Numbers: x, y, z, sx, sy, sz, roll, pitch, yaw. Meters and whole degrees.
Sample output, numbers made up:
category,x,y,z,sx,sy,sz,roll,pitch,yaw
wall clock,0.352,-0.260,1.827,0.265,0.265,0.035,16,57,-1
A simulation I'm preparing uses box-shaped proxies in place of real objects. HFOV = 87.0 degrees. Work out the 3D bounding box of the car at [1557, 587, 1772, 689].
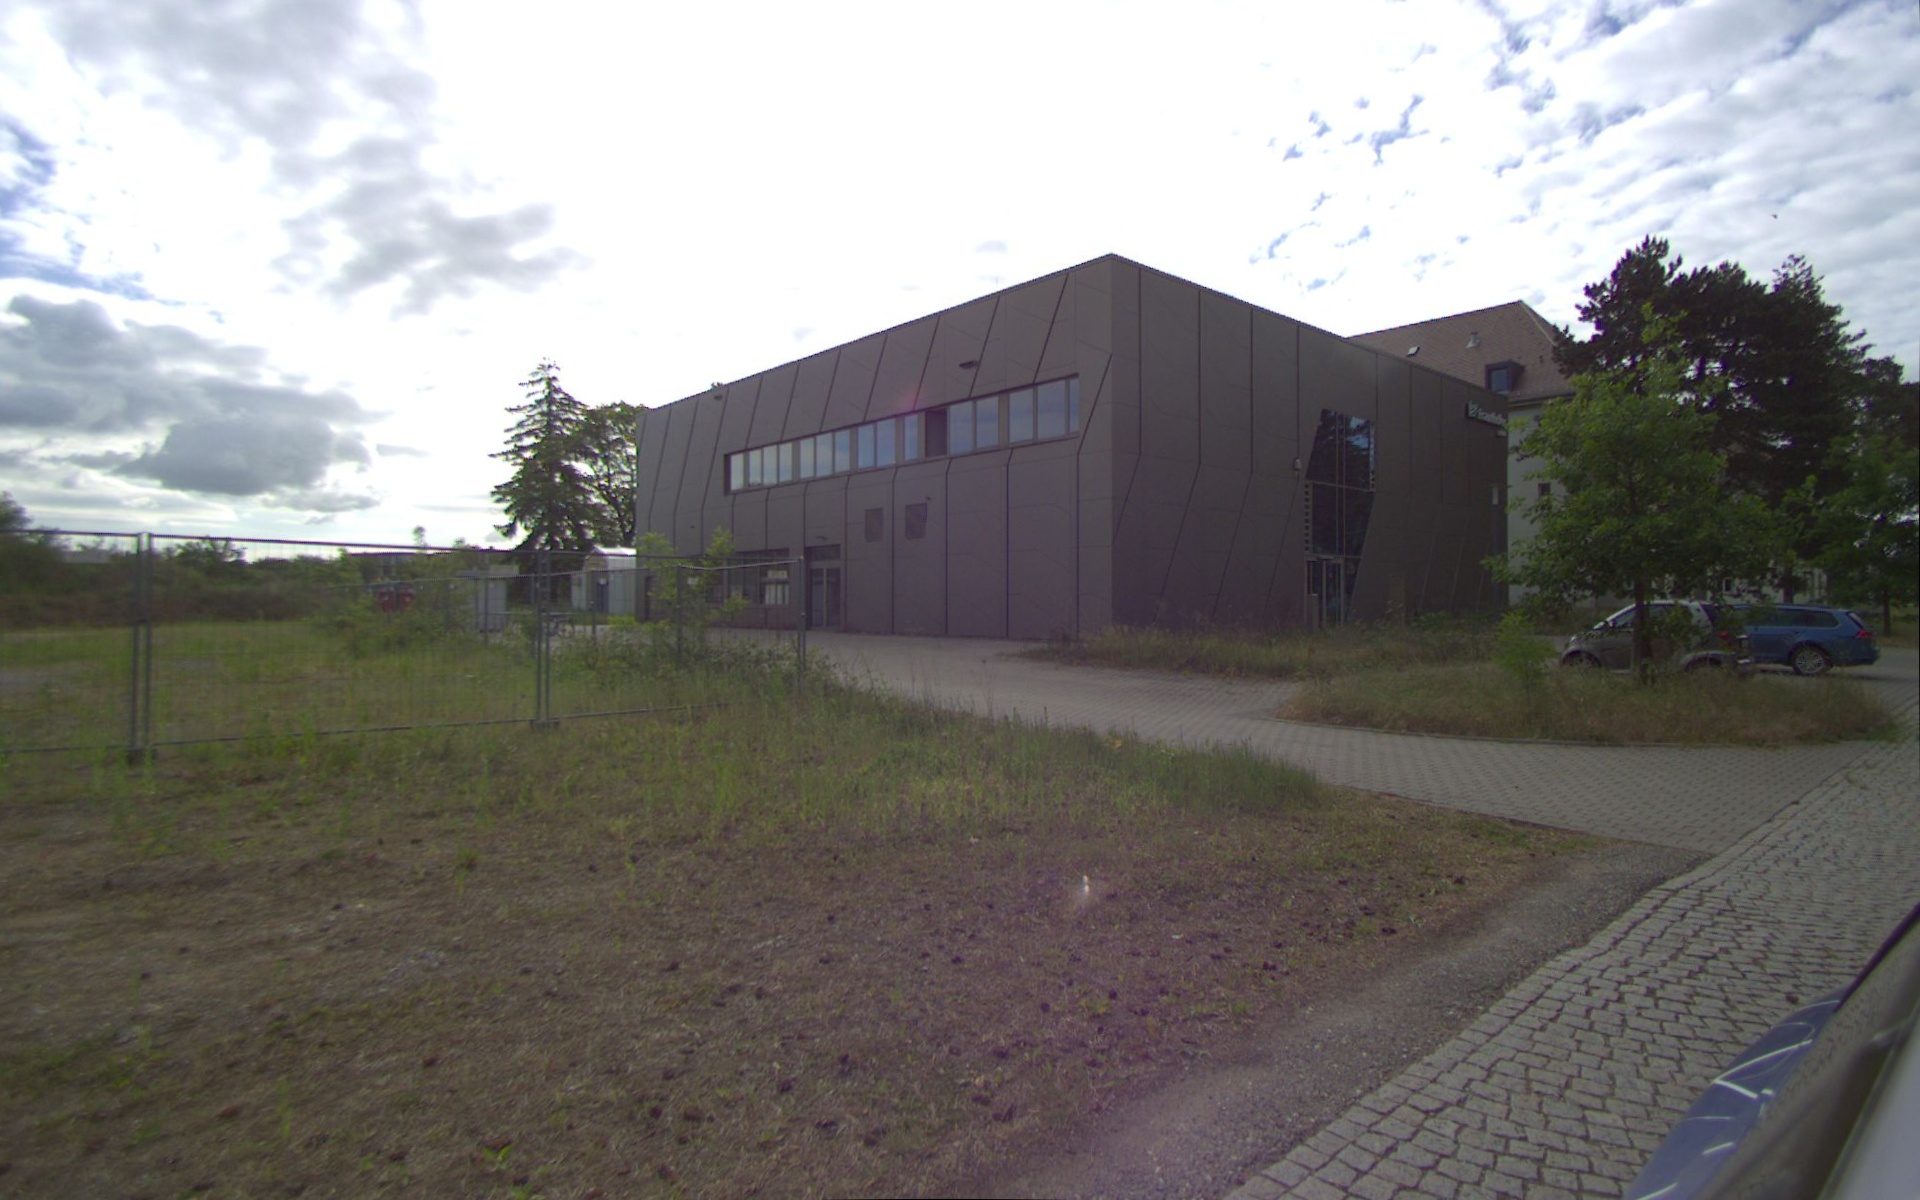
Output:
category,x,y,z,sx,sy,sz,roll,pitch,yaw
car,12.145,0.581,17.537,1.624,1.576,2.716,0,1,-39

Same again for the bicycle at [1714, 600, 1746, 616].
category,x,y,z,sx,sy,sz,roll,pitch,yaw
bicycle,52.596,0.553,69.125,0.603,1.099,1.655,0,0,-39

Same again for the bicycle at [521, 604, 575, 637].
category,x,y,z,sx,sy,sz,roll,pitch,yaw
bicycle,-13.919,0.682,34.220,1.624,1.099,0.512,0,0,-32

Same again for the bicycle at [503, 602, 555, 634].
category,x,y,z,sx,sy,sz,roll,pitch,yaw
bicycle,-15.326,0.640,36.005,1.624,1.099,0.512,0,0,-32

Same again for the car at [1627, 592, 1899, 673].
category,x,y,z,sx,sy,sz,roll,pitch,yaw
car,17.592,0.622,22.333,1.800,1.493,4.495,0,2,-43
